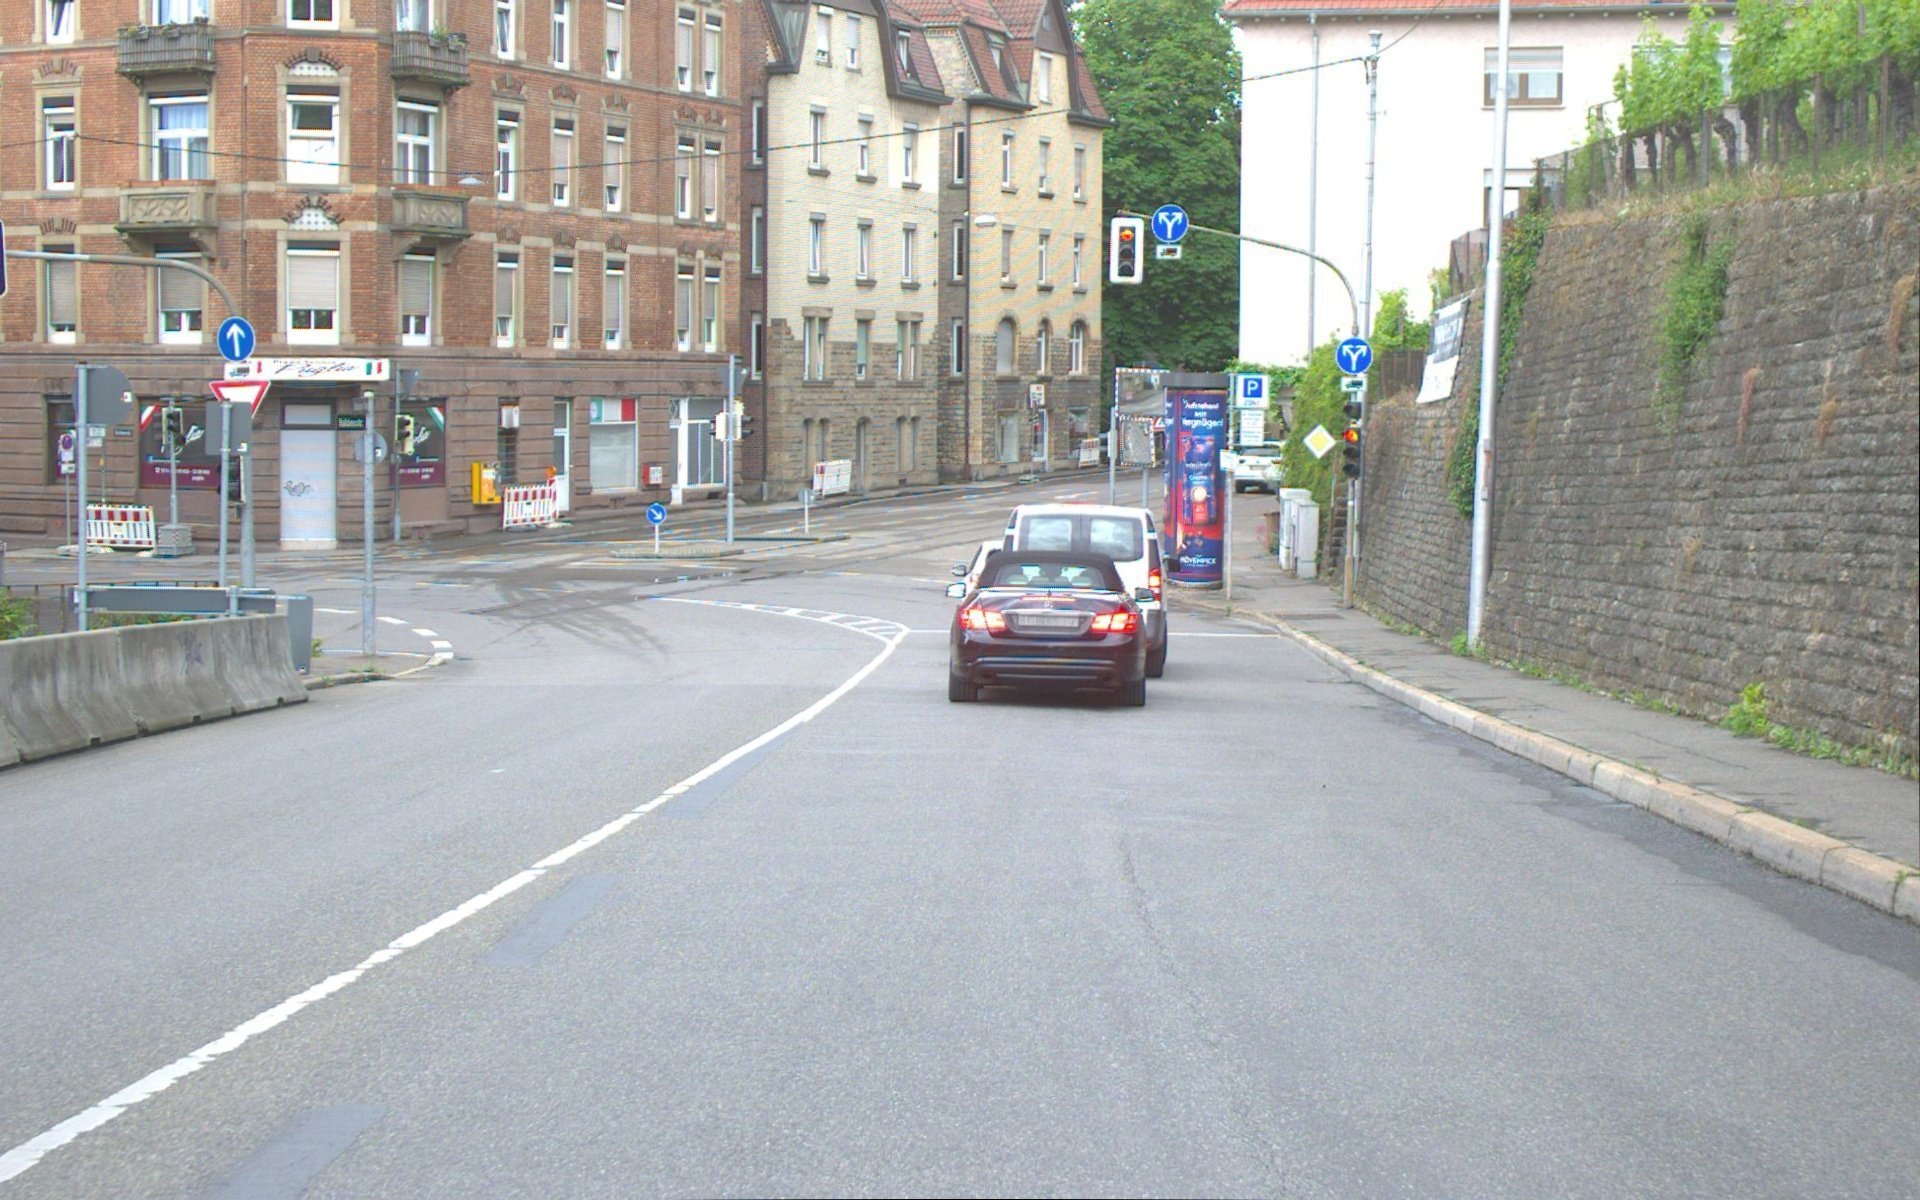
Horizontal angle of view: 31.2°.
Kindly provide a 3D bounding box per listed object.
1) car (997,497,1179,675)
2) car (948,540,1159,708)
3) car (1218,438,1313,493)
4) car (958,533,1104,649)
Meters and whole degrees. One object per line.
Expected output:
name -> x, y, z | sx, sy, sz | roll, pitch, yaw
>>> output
car -> 1.426, -0.187, 39.138 | 1.909, 1.877, 4.000 | 2, 1, 1
car -> 0.861, 0.184, 32.270 | 1.816, 1.425, 4.000 | 2, 1, 1
car -> 9.677, -4.253, 108.664 | 1.843, 1.696, 3.996 | 2, 3, 23
car -> 0.950, -0.148, 46.057 | 1.841, 1.436, 4.000 | 2, 1, 1
